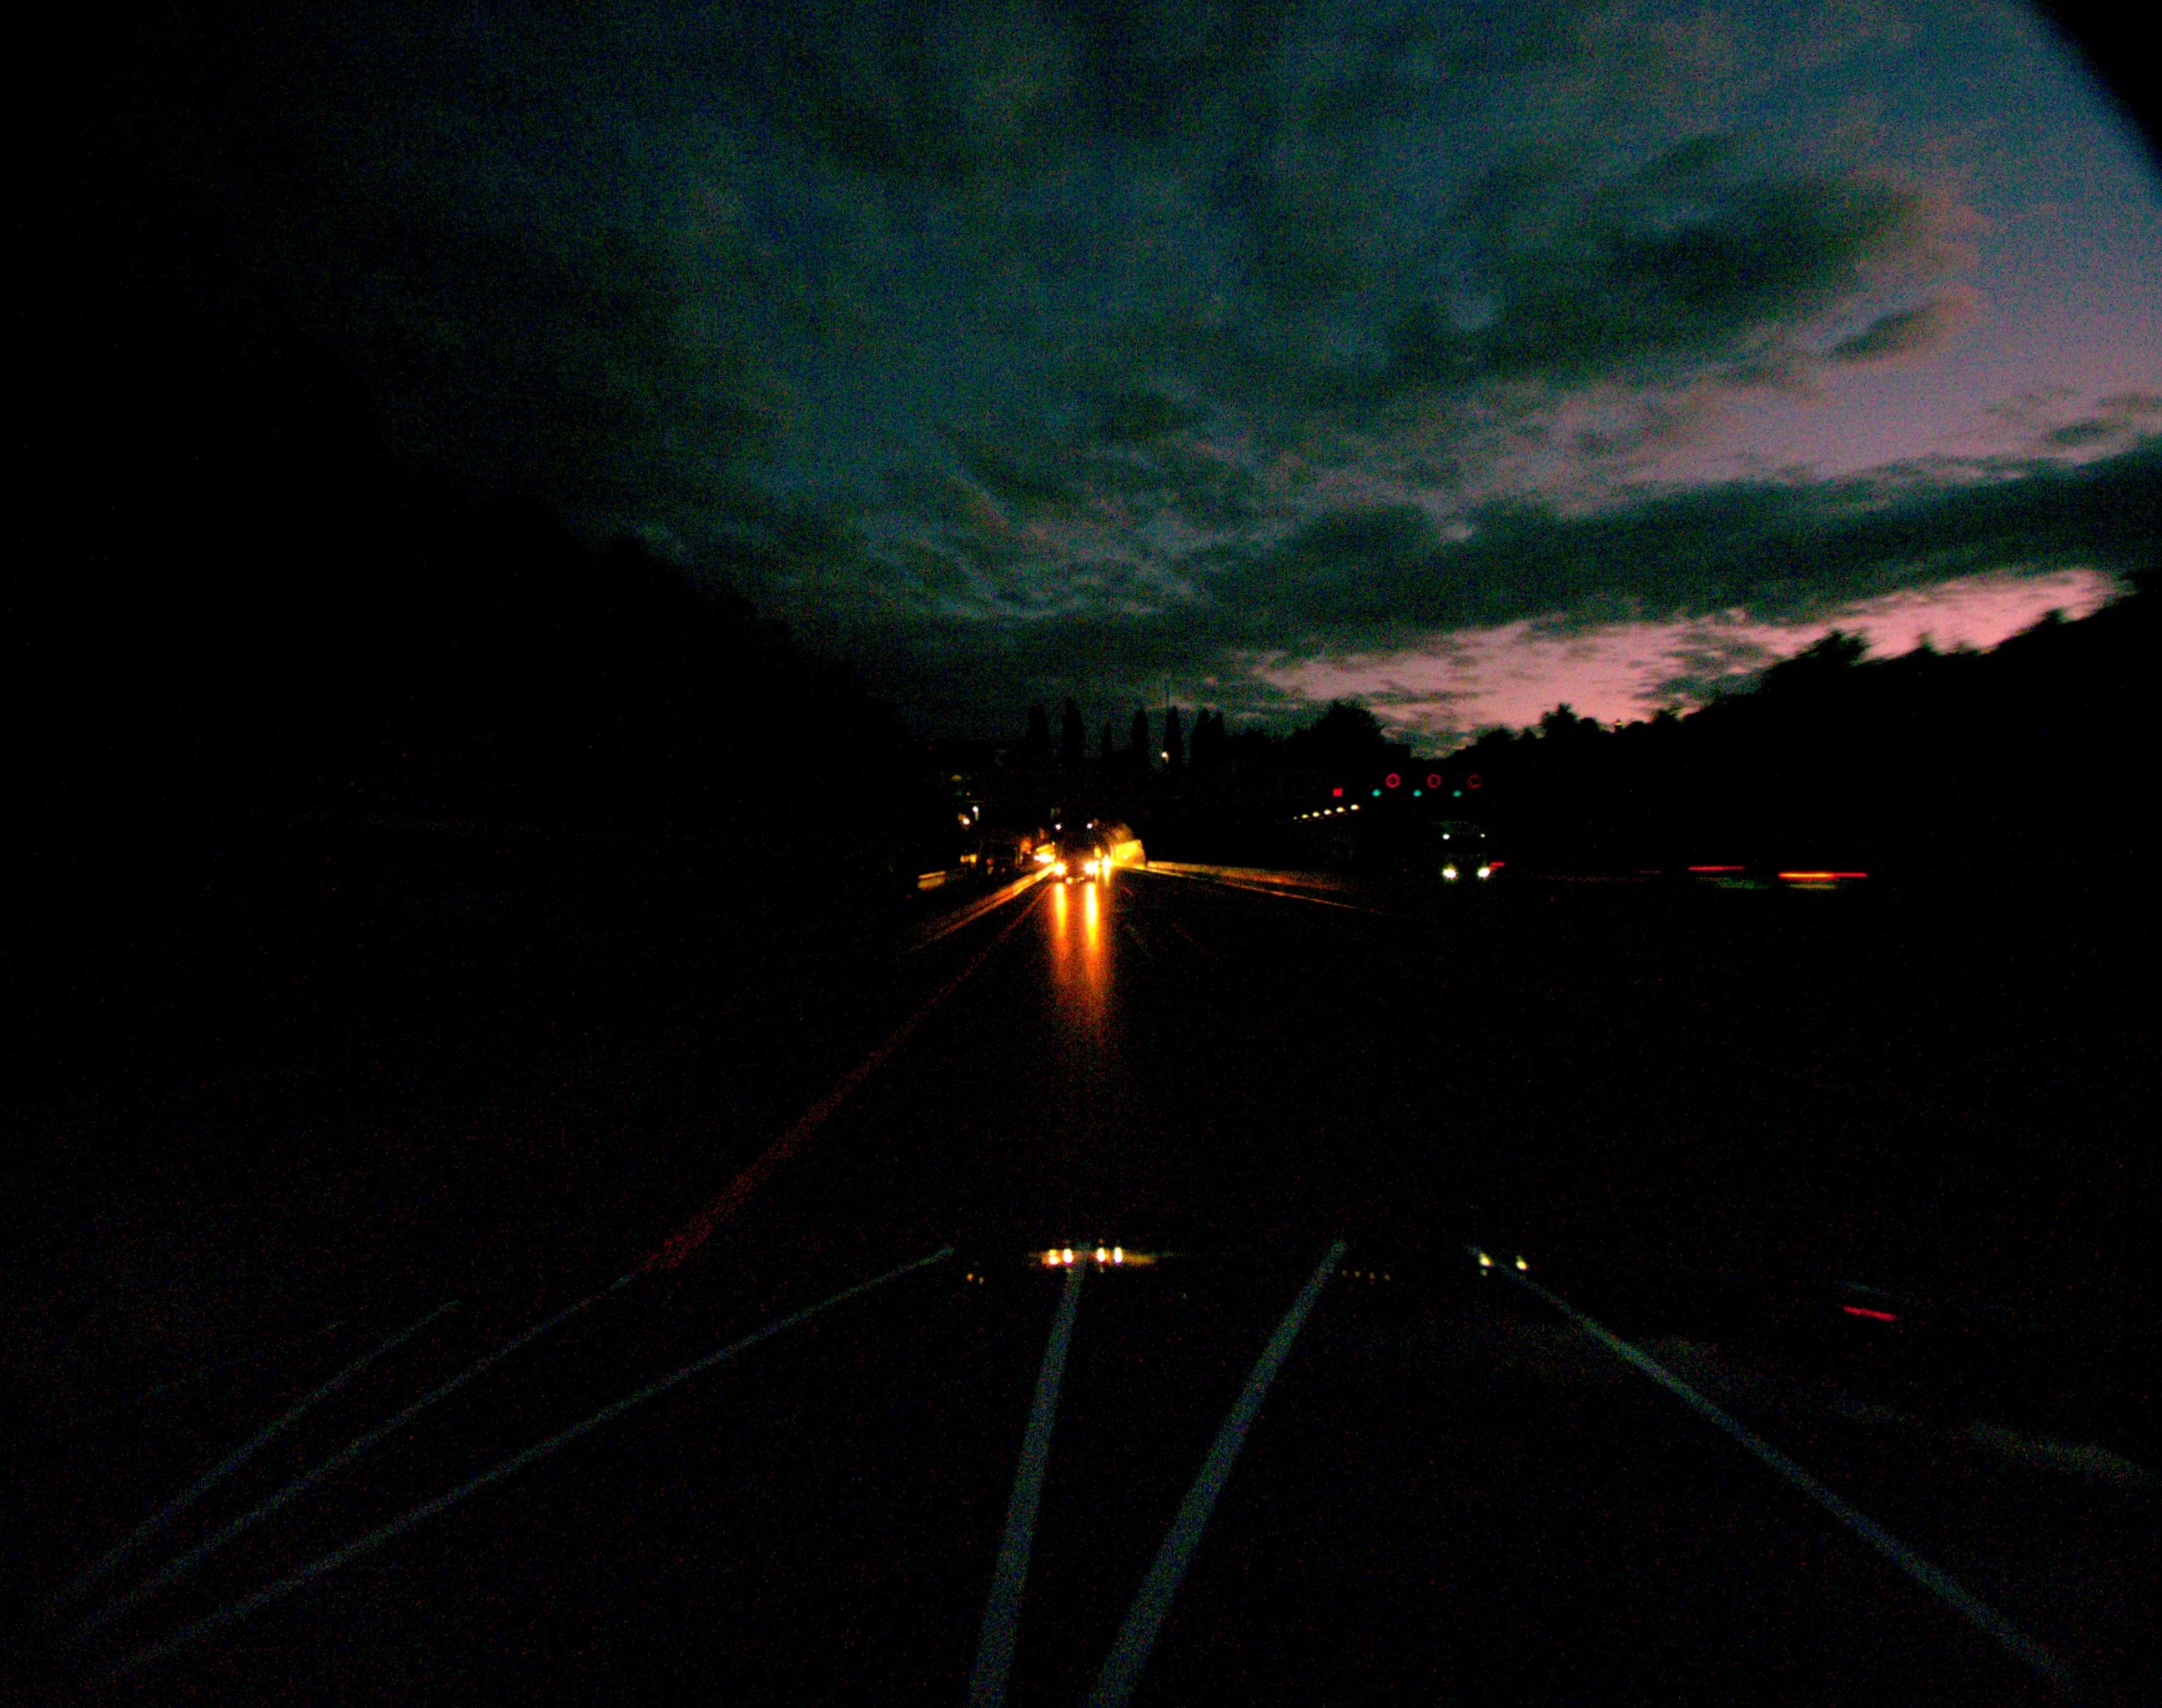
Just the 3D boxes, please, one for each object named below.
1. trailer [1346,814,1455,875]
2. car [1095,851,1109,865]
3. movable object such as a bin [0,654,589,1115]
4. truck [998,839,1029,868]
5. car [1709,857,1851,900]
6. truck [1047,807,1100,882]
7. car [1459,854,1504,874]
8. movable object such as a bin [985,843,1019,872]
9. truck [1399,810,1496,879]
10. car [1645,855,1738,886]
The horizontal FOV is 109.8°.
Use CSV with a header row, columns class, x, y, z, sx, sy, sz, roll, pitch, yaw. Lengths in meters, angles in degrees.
class,x,y,z,sx,sy,sz,roll,pitch,yaw
trailer,22.144,-0.655,53.731,2.805,3.761,11.834,-3,1,1
car,2.549,0.518,93.247,1.663,1.586,3.996,-3,1,1
movable object such as a bin,-8.450,0.201,8.217,2.570,3.299,5.578,0,1,0
truck,-8.168,-0.098,92.813,2.825,3.267,8.352,-3,1,1
car,28.244,0.923,30.944,1.676,1.461,4.647,-3,1,3
truck,-0.321,-0.608,50.006,2.953,4.241,11.052,-3,1,1
car,32.616,0.754,61.989,1.580,1.461,4.095,-3,1,3
movable object such as a bin,-8.462,0.330,82.430,2.978,2.811,7.194,-3,1,-1
truck,21.983,-0.571,45.976,2.809,3.753,6.302,-3,1,1
car,31.629,0.803,39.508,1.580,1.461,4.226,-1,1,3
